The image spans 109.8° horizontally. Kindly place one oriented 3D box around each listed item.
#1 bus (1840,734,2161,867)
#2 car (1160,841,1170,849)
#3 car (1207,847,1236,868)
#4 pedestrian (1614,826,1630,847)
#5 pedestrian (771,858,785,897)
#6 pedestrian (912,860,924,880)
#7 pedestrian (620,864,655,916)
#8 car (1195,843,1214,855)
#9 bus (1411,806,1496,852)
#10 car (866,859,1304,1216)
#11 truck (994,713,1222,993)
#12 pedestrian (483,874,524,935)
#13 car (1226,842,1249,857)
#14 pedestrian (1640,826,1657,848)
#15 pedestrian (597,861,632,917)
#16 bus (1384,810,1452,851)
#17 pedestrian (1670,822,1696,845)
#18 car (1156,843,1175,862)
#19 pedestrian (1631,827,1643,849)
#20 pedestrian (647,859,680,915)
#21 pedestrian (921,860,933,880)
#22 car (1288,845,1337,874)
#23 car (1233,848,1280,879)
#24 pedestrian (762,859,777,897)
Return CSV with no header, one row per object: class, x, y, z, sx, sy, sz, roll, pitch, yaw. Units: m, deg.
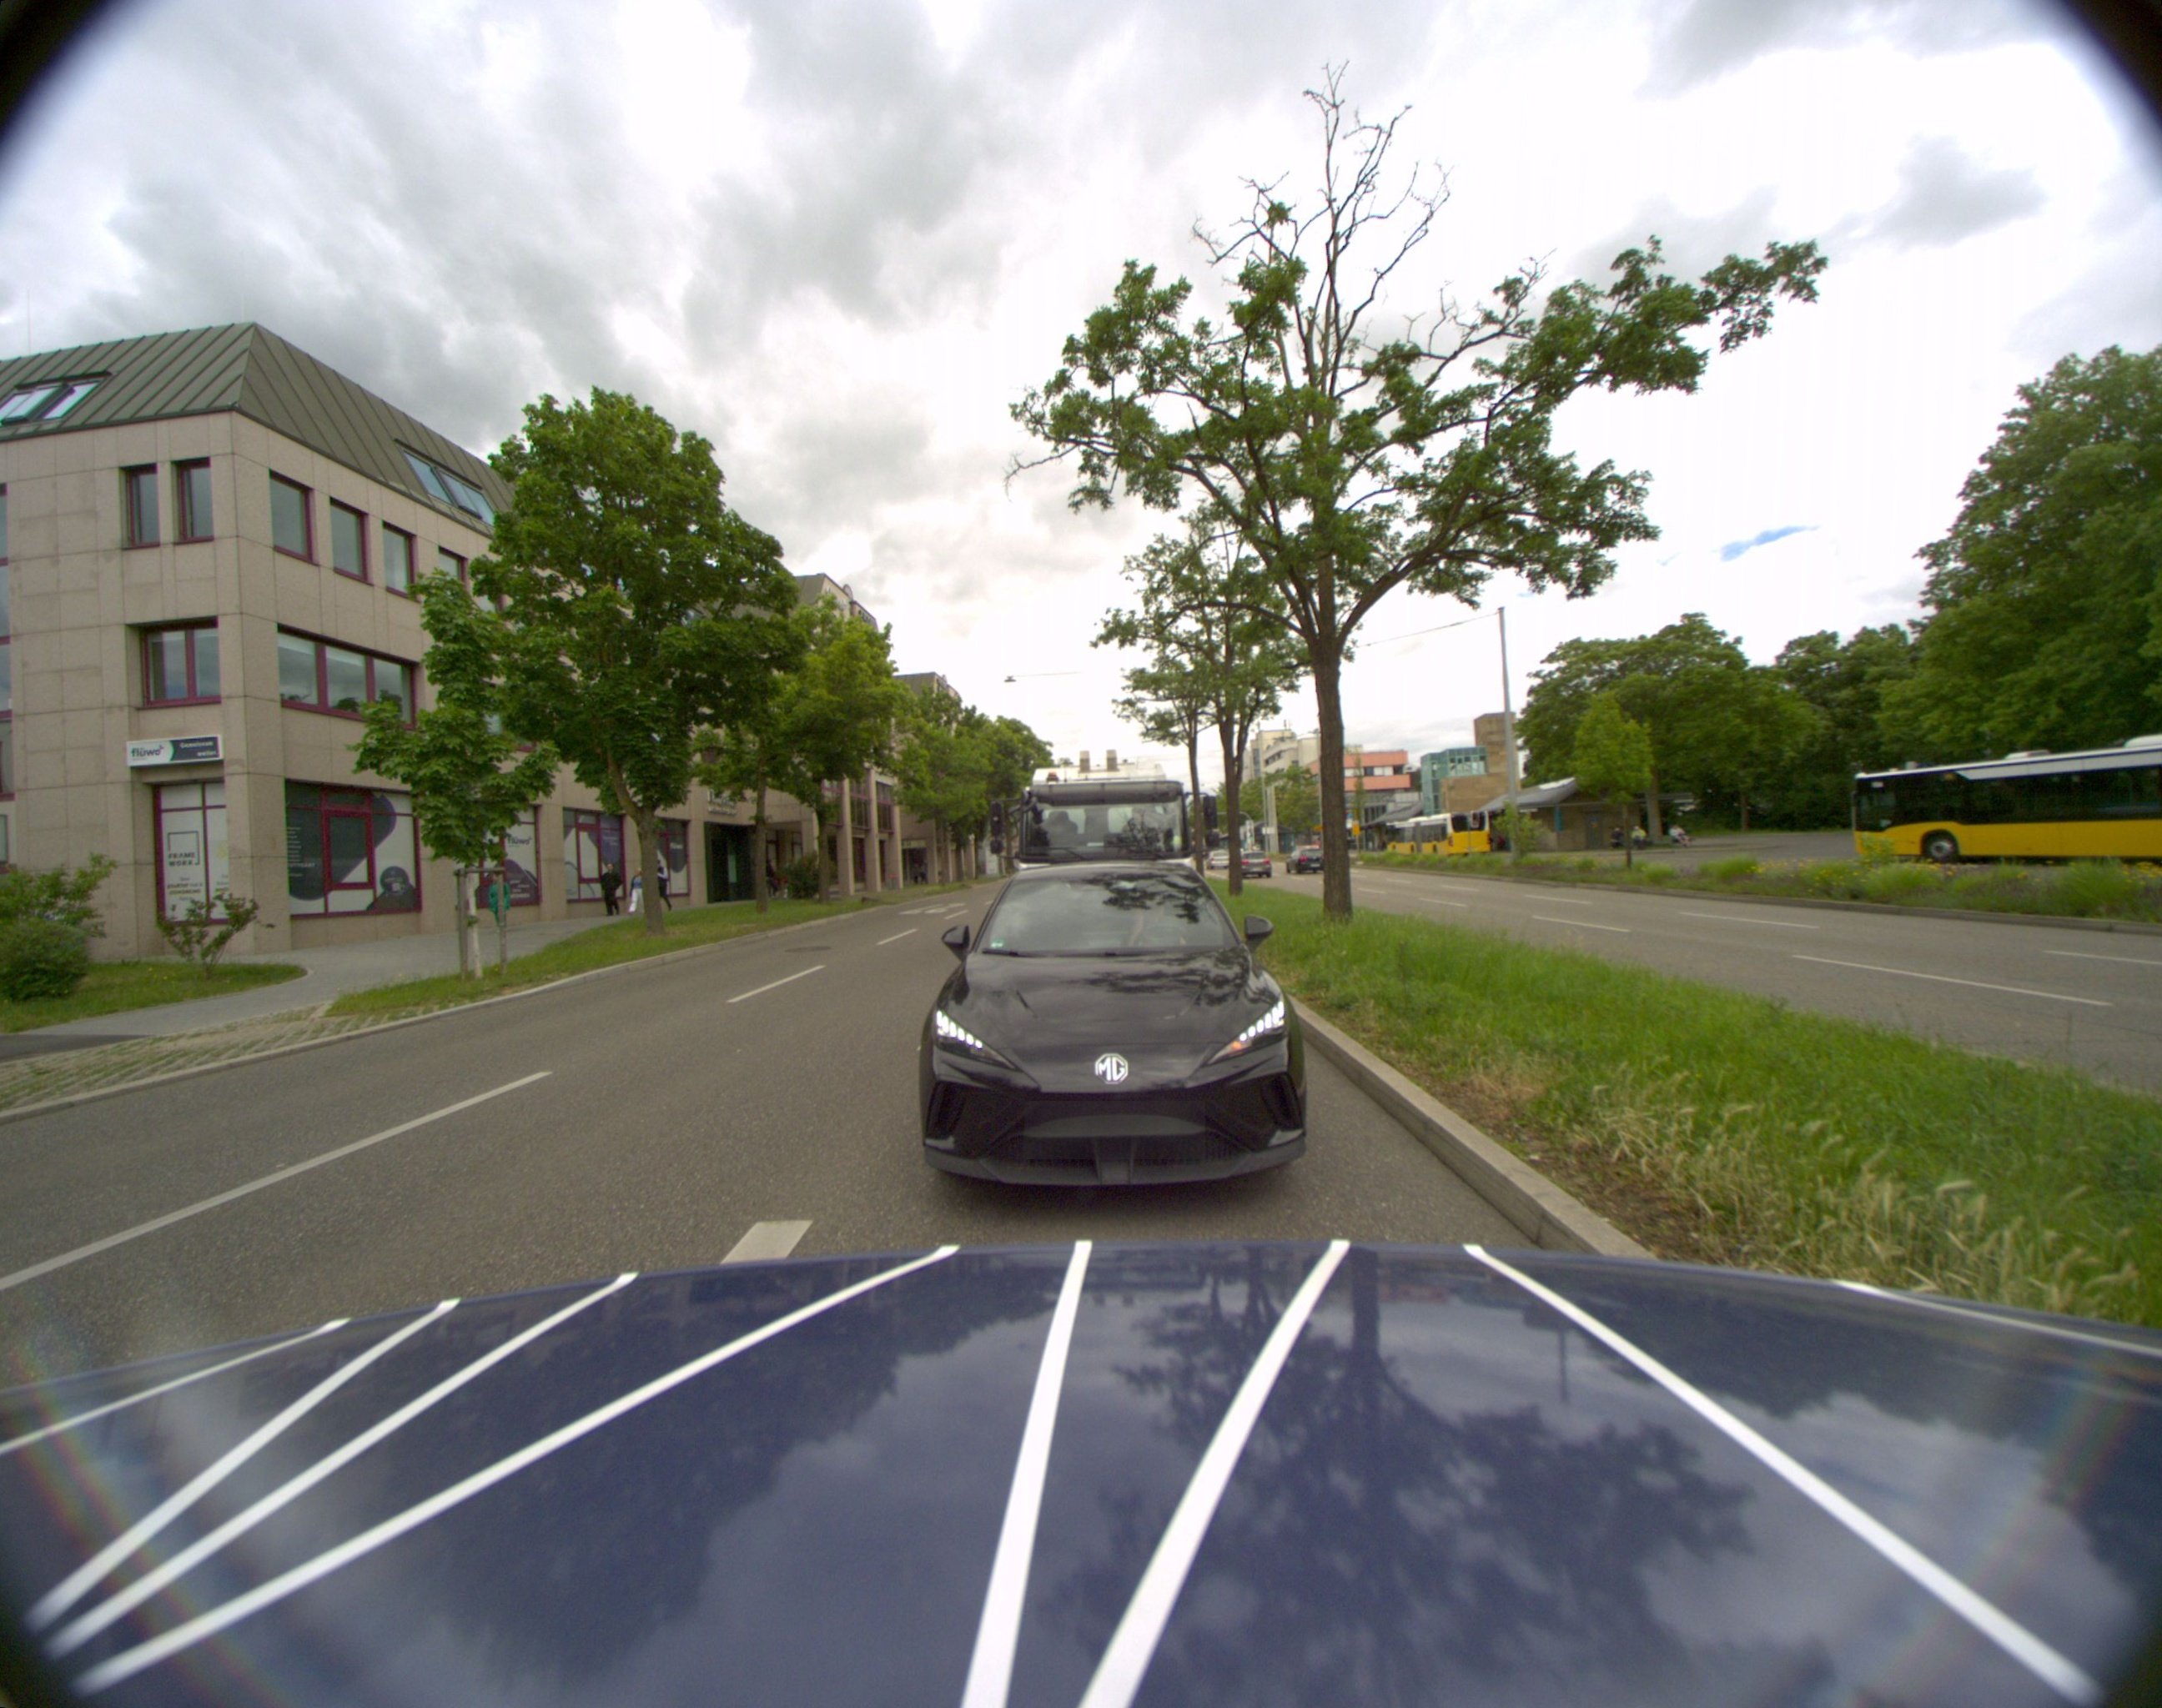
bus,25.888,-1.278,19.623,2.888,2.985,10.397,-3,0,6
car,22.199,-2.452,200.774,1.998,2.002,3.999,-2,1,1
car,10.948,0.237,59.387,1.727,1.469,4.001,-3,0,4
pedestrian,30.754,-0.978,43.226,0.598,1.155,0.744,-2,1,25
pedestrian,-13.512,1.052,33.899,0.380,1.683,0.356,-3,1,3
pedestrian,-11.636,1.166,54.230,0.667,1.397,0.519,-2,1,2
pedestrian,-14.627,1.179,25.067,0.642,1.637,0.677,-3,1,1
car,16.736,-0.690,103.283,1.846,1.602,4.000,-3,0,1
bus,26.033,-1.660,53.675,2.887,2.793,9.182,-3,0,10
car,0.045,0.811,5.283,1.827,1.430,4.000,-3,0,1
truck,0.429,-0.015,12.661,2.544,3.187,7.369,-3,0,2
pedestrian,-14.657,1.273,19.291,0.496,1.510,0.677,0,1,1
car,16.446,-0.490,80.091,1.727,1.469,4.001,-3,0,4
pedestrian,30.612,-0.898,40.995,0.598,1.155,0.744,-2,1,26
pedestrian,-15.322,1.142,24.958,0.642,1.795,0.677,-3,1,1
bus,27.616,-1.815,62.686,2.887,2.985,9.182,-3,0,10
pedestrian,31.948,-1.080,40.351,0.650,1.165,0.925,-2,1,1
car,9.434,-0.151,84.911,1.726,2.002,4.001,-3,0,3
pedestrian,30.173,-0.886,41.242,0.367,1.160,0.899,-2,1,26
pedestrian,-13.830,1.082,25.176,0.642,1.795,0.677,-3,1,1
pedestrian,-10.912,1.143,53.816,0.607,1.397,0.640,-2,1,3
car,13.006,0.277,42.848,1.727,1.469,4.001,-3,0,4
car,9.198,0.448,40.128,1.727,1.469,4.001,-3,0,4
pedestrian,-13.894,1.066,33.913,0.400,1.683,0.400,-3,1,3
